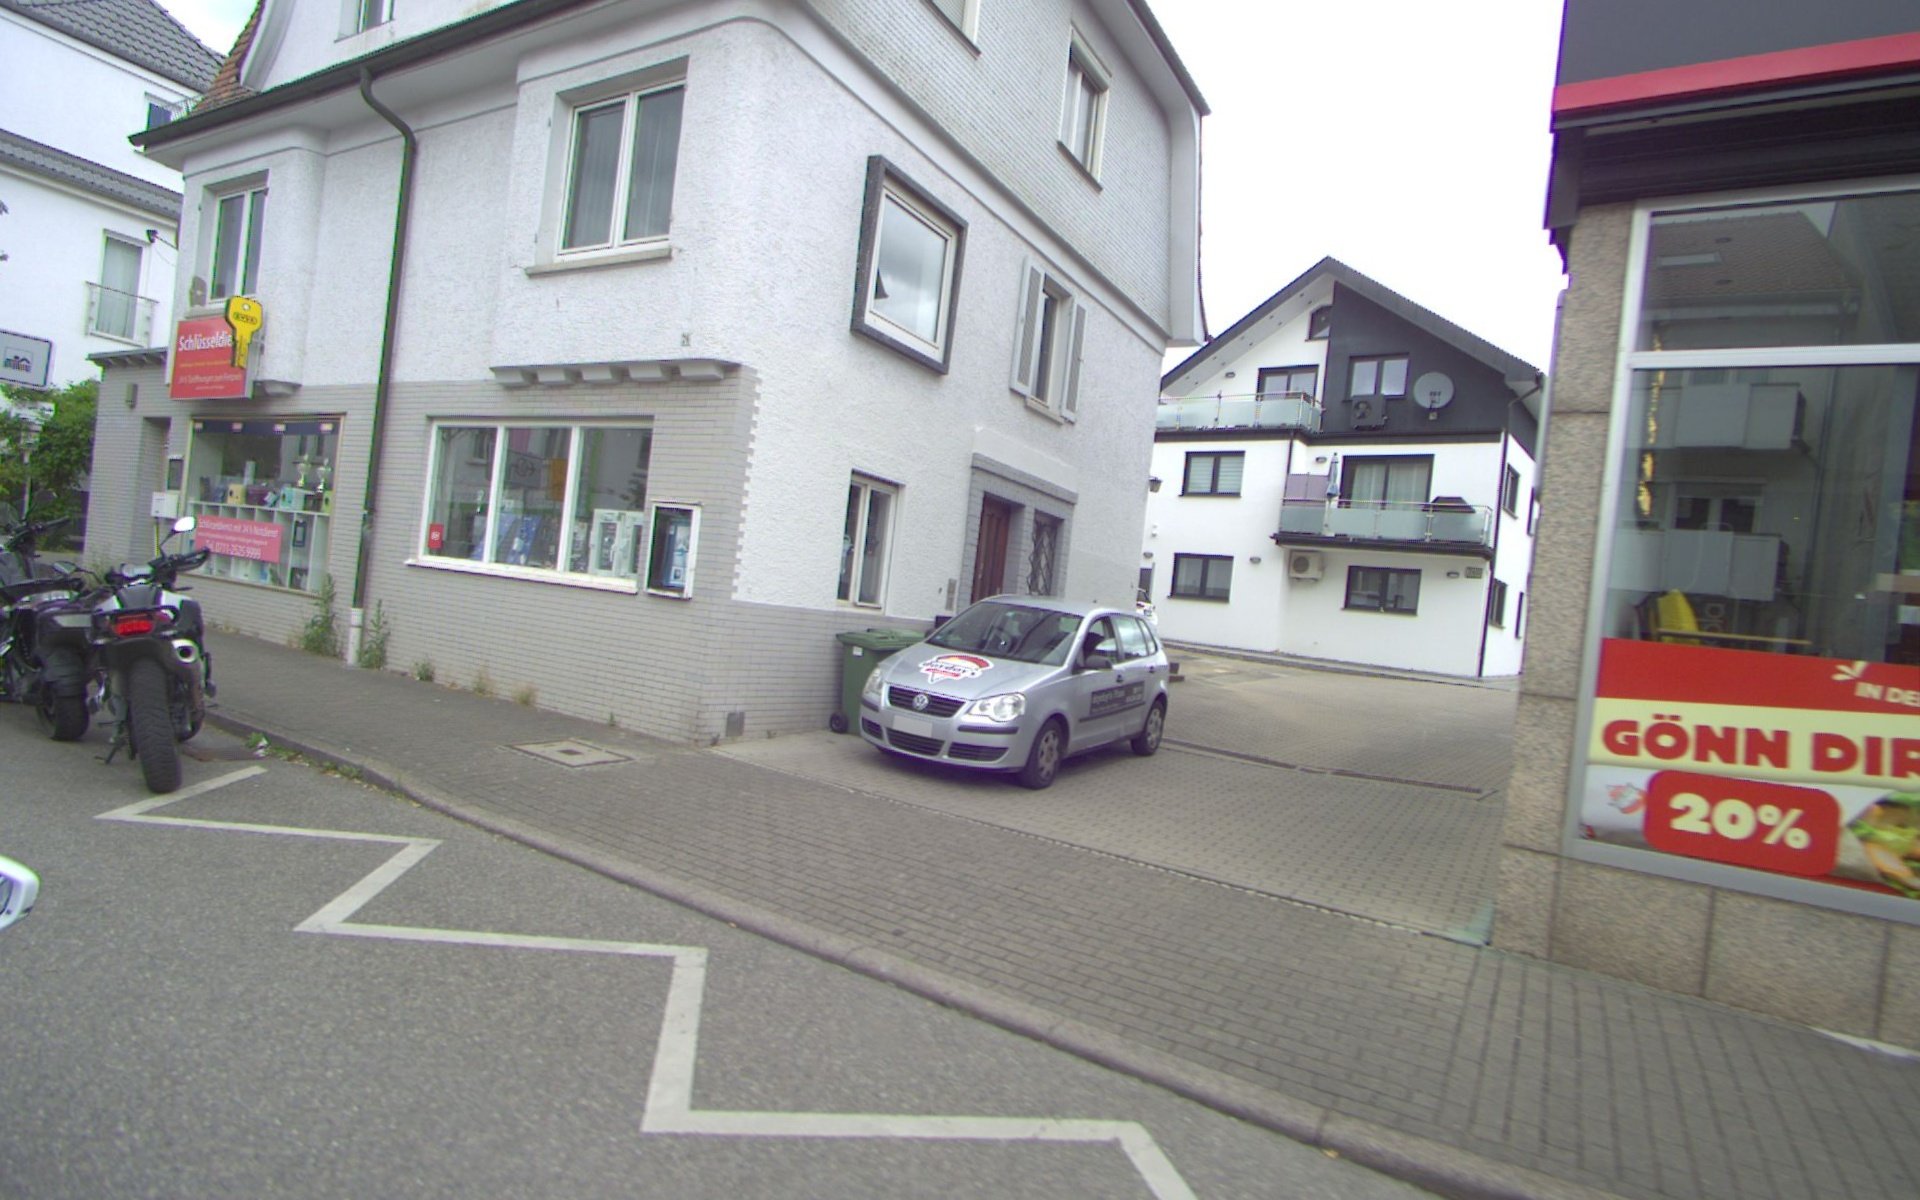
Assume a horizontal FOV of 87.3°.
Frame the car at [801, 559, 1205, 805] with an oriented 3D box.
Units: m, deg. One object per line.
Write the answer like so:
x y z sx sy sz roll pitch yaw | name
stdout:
0.651 0.620 9.366 1.824 1.609 4.198 7 2 32 | car

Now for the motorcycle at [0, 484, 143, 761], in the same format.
-6.196 0.044 6.596 2.559 1.543 0.670 7 0 39 | motorcycle

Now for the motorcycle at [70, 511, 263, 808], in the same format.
-4.763 0.249 6.057 0.645 1.457 2.443 7 0 -39 | motorcycle

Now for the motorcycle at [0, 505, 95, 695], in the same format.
-8.172 -0.123 7.695 2.203 1.398 0.775 7 0 -5 | motorcycle
